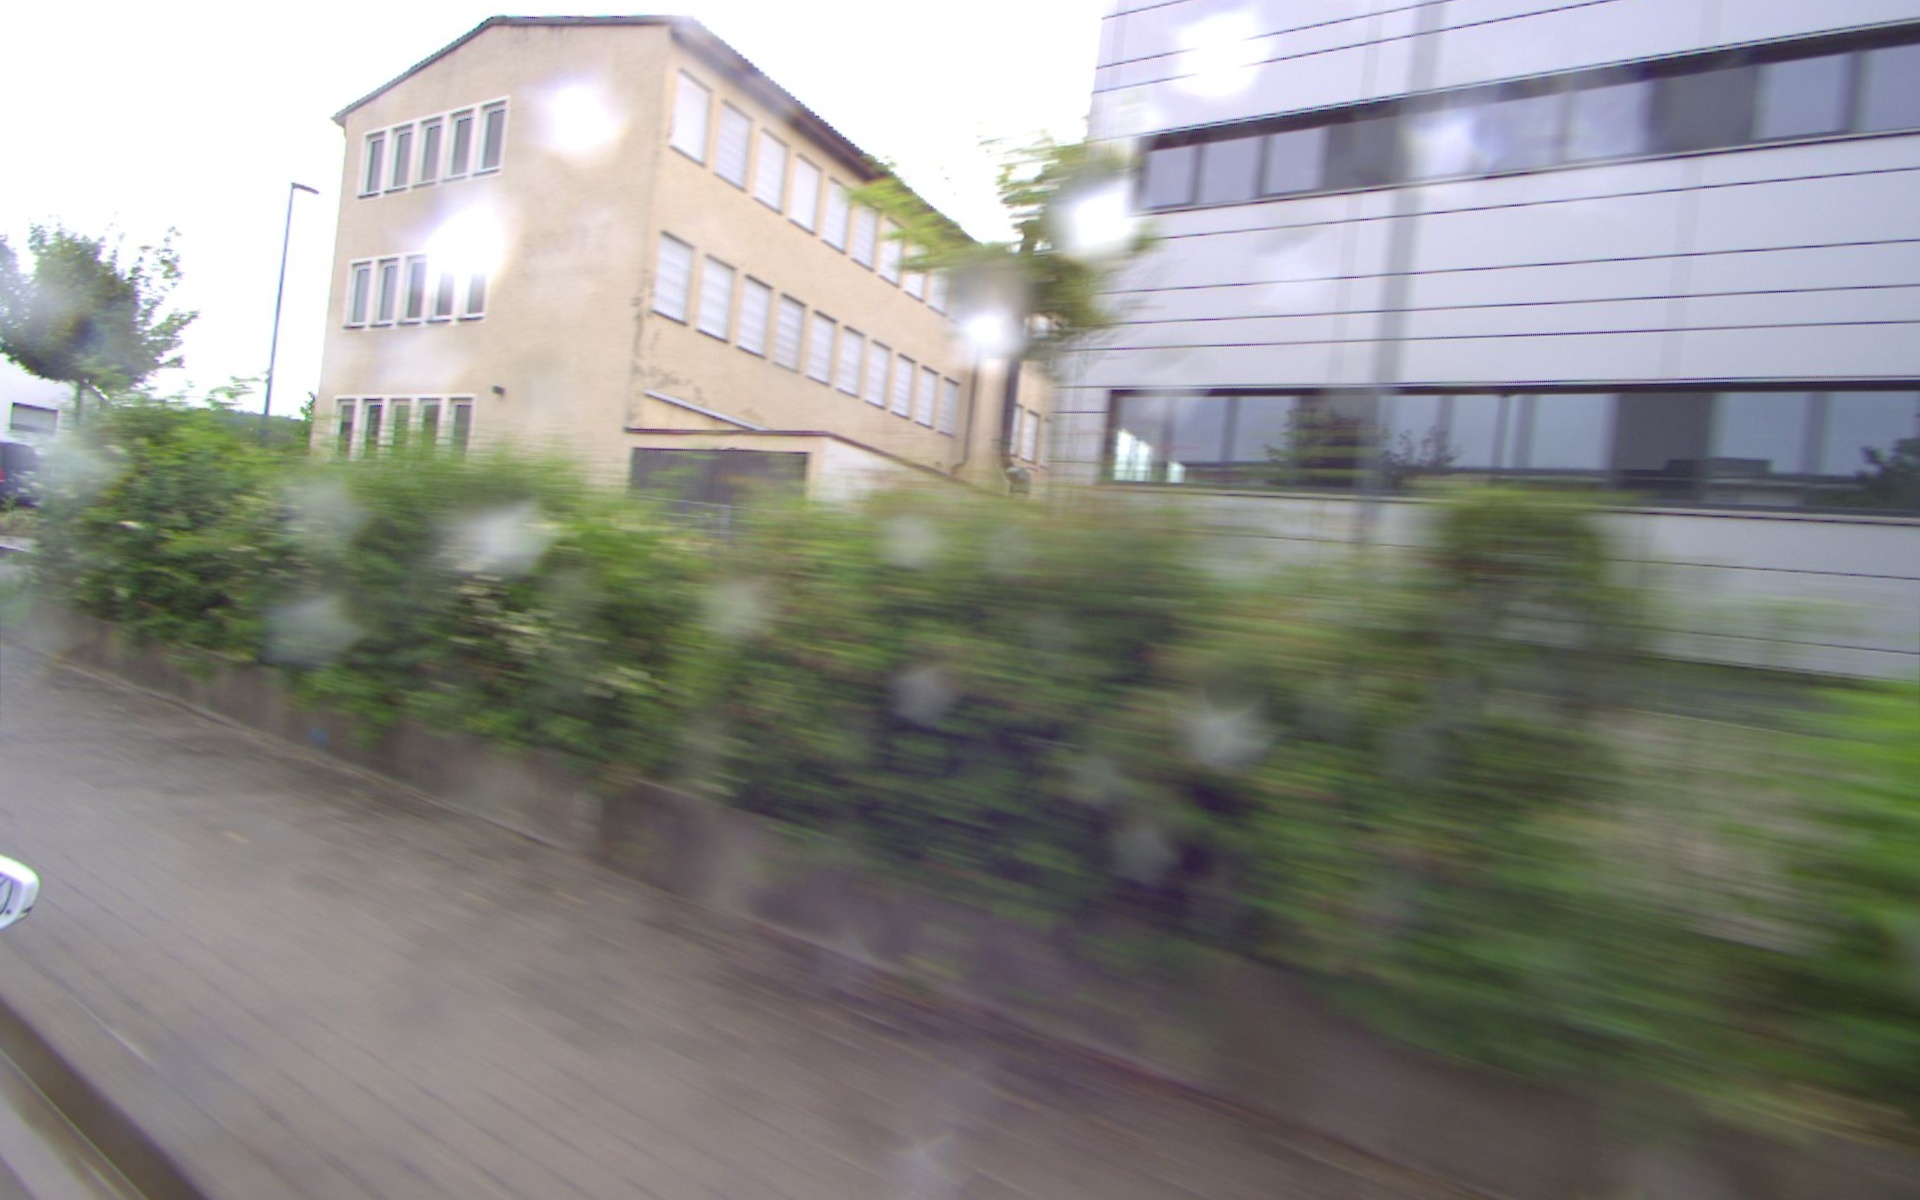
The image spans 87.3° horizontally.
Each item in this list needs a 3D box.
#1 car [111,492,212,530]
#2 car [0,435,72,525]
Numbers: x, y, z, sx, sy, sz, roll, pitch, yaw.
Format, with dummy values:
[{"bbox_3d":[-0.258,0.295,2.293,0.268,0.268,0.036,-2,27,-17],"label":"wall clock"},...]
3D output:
[{"bbox_3d":[-41.383,-4.607,52.209,1.584,1.473,3.765,6,0,37],"label":"car"},{"bbox_3d":[-24.456,-3.042,23.513,5.042,1.944,2.044,5,1,-21],"label":"car"}]
